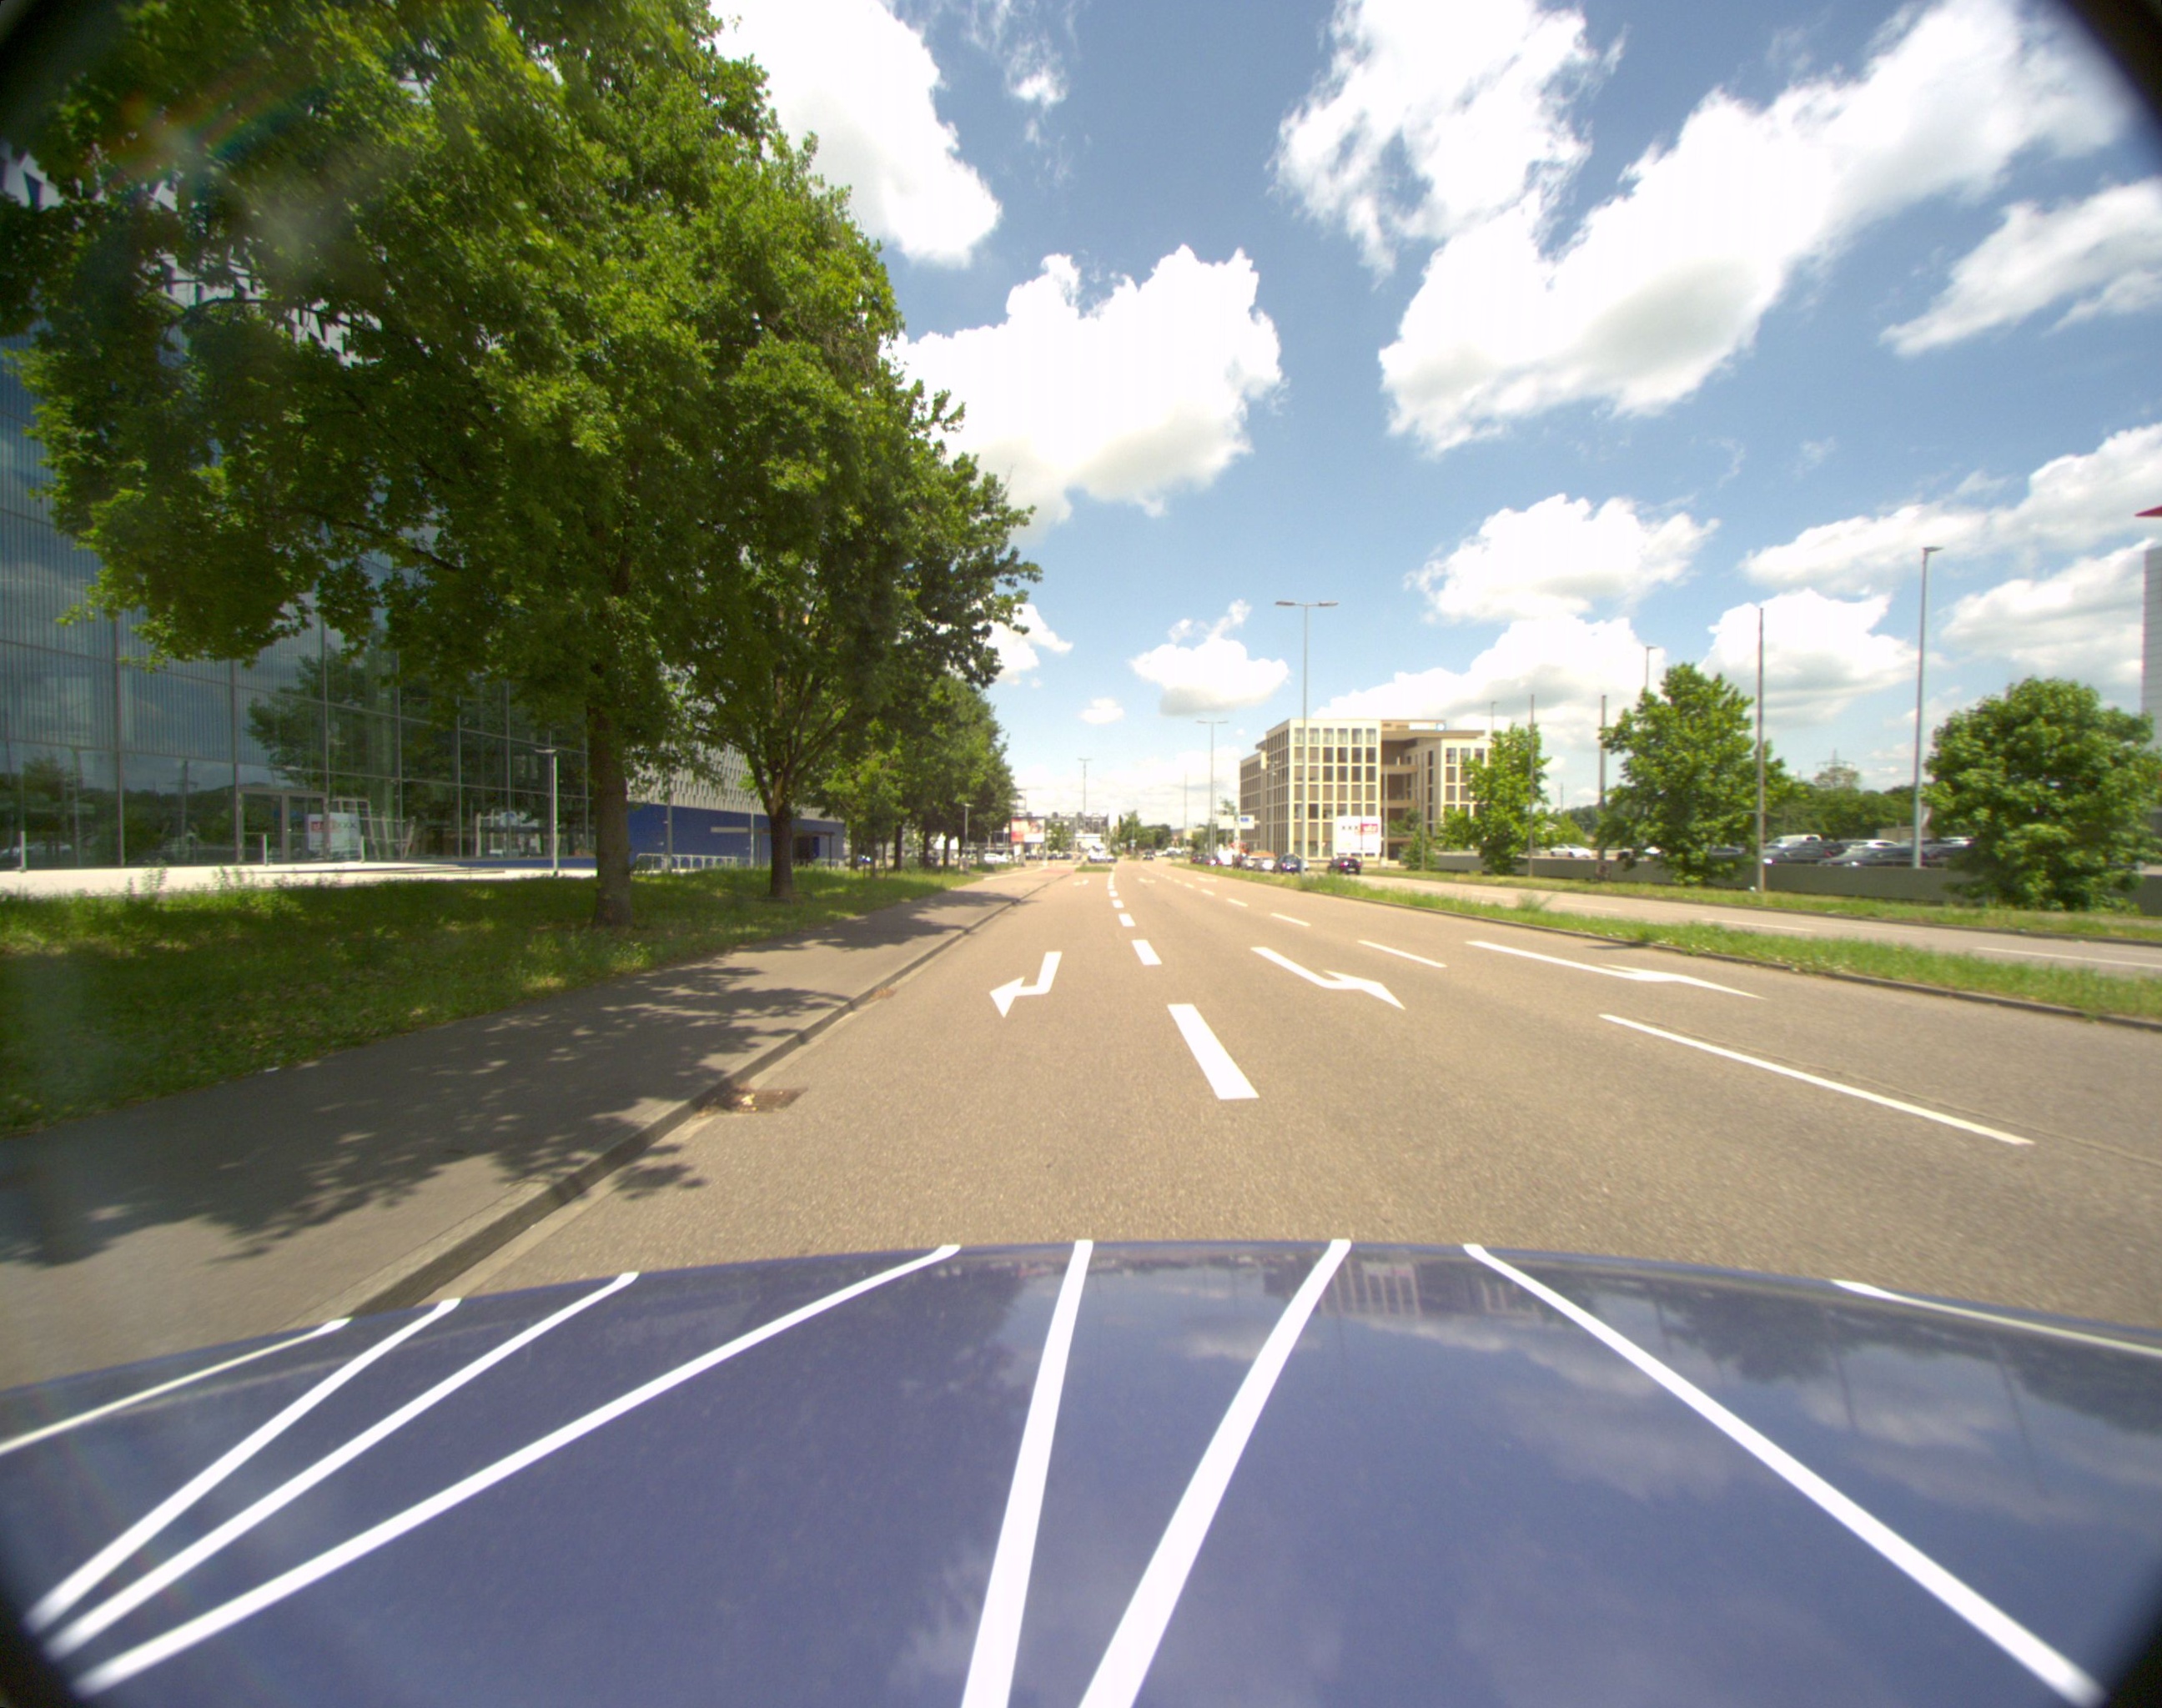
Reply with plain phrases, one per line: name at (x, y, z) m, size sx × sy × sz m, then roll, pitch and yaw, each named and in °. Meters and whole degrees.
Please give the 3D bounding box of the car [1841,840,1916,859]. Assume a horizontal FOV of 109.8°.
car at (62.287, -0.329, 59.412) m, size 3.829 × 1.461 × 1.856 m, roll 1°, pitch 0°, yaw 3°

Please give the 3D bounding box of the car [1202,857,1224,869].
car at (14.262, 0.945, 82.262) m, size 1.796 × 1.243 × 4.308 m, roll 1°, pitch 0°, yaw 2°

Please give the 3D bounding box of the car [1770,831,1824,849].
car at (72.939, -1.401, 77.507) m, size 1.855 × 1.822 × 3.833 m, roll 1°, pitch 0°, yaw -1°

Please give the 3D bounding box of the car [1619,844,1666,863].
car at (57.969, -0.058, 78.484) m, size 1.855 × 1.822 × 3.832 m, roll 1°, pitch 0°, yaw -2°

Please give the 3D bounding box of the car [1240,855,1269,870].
car at (16.764, 0.810, 73.498) m, size 1.796 × 1.393 × 4.846 m, roll 2°, pitch 0°, yaw 2°

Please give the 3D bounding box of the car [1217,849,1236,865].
car at (17.952, 0.379, 94.162) m, size 1.861 × 2.031 × 3.577 m, roll 1°, pitch 0°, yaw 4°

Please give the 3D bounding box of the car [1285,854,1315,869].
car at (22.178, 0.793, 77.038) m, size 1.624 × 1.464 × 4.358 m, roll 1°, pitch 0°, yaw -3°

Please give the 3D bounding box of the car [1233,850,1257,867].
car at (17.283, 0.490, 80.291) m, size 1.796 × 1.691 × 4.228 m, roll 1°, pitch 0°, yaw 2°

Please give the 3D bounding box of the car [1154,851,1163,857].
car at (22.496, -0.077, 220.971) m, size 2.289 × 1.708 × 4.483 m, roll 1°, pitch 1°, yaw 4°

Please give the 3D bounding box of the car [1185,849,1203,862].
car at (13.981, 0.205, 94.267) m, size 1.795 × 1.635 × 4.172 m, roll 1°, pitch 0°, yaw 4°

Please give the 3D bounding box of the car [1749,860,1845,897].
car at (46.854, 1.599, 49.768) m, size 4.360 × 2.315 × 2.000 m, roll 0°, pitch 1°, yaw 0°

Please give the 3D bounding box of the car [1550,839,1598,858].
car at (50.447, -0.560, 77.856) m, size 1.855 × 1.822 × 4.674 m, roll 1°, pitch 0°, yaw 0°

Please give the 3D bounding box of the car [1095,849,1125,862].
car at (4.067, 0.189, 107.253) m, size 3.998 × 1.681 × 1.858 m, roll 1°, pitch 0°, yaw -3°

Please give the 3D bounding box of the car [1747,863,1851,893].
car at (40.415, 1.336, 42.837) m, size 3.996 × 1.586 × 1.846 m, roll 1°, pitch 0°, yaw 3°

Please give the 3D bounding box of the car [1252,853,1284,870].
car at (16.416, 0.619, 66.842) m, size 1.796 × 1.409 × 4.675 m, roll 1°, pitch 0°, yaw 2°

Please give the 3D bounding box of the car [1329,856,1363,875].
car at (21.661, 0.895, 62.270) m, size 1.623 × 1.461 × 4.118 m, roll 1°, pitch 0°, yaw 4°

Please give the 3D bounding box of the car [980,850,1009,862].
car at (-12.315, 0.333, 108.085) m, size 3.999 × 1.681 × 1.857 m, roll 1°, pitch 0°, yaw -6°

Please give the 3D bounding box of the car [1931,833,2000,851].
car at (77.510, -1.055, 66.643) m, size 3.830 × 1.535 × 1.856 m, roll 1°, pitch 0°, yaw 0°

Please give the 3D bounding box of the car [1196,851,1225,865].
car at (15.096, 0.475, 88.808) m, size 1.799 × 1.551 × 3.764 m, roll 1°, pitch 0°, yaw -17°

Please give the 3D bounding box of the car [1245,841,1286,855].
car at (32.541, -1.055, 133.943) m, size 6.518 × 2.314 × 2.859 m, roll 0°, pitch -2°, yaw 25°

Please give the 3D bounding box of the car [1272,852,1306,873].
car at (15.868, 0.634, 58.072) m, size 1.743 × 1.466 × 3.676 m, roll 1°, pitch 1°, yaw 3°
